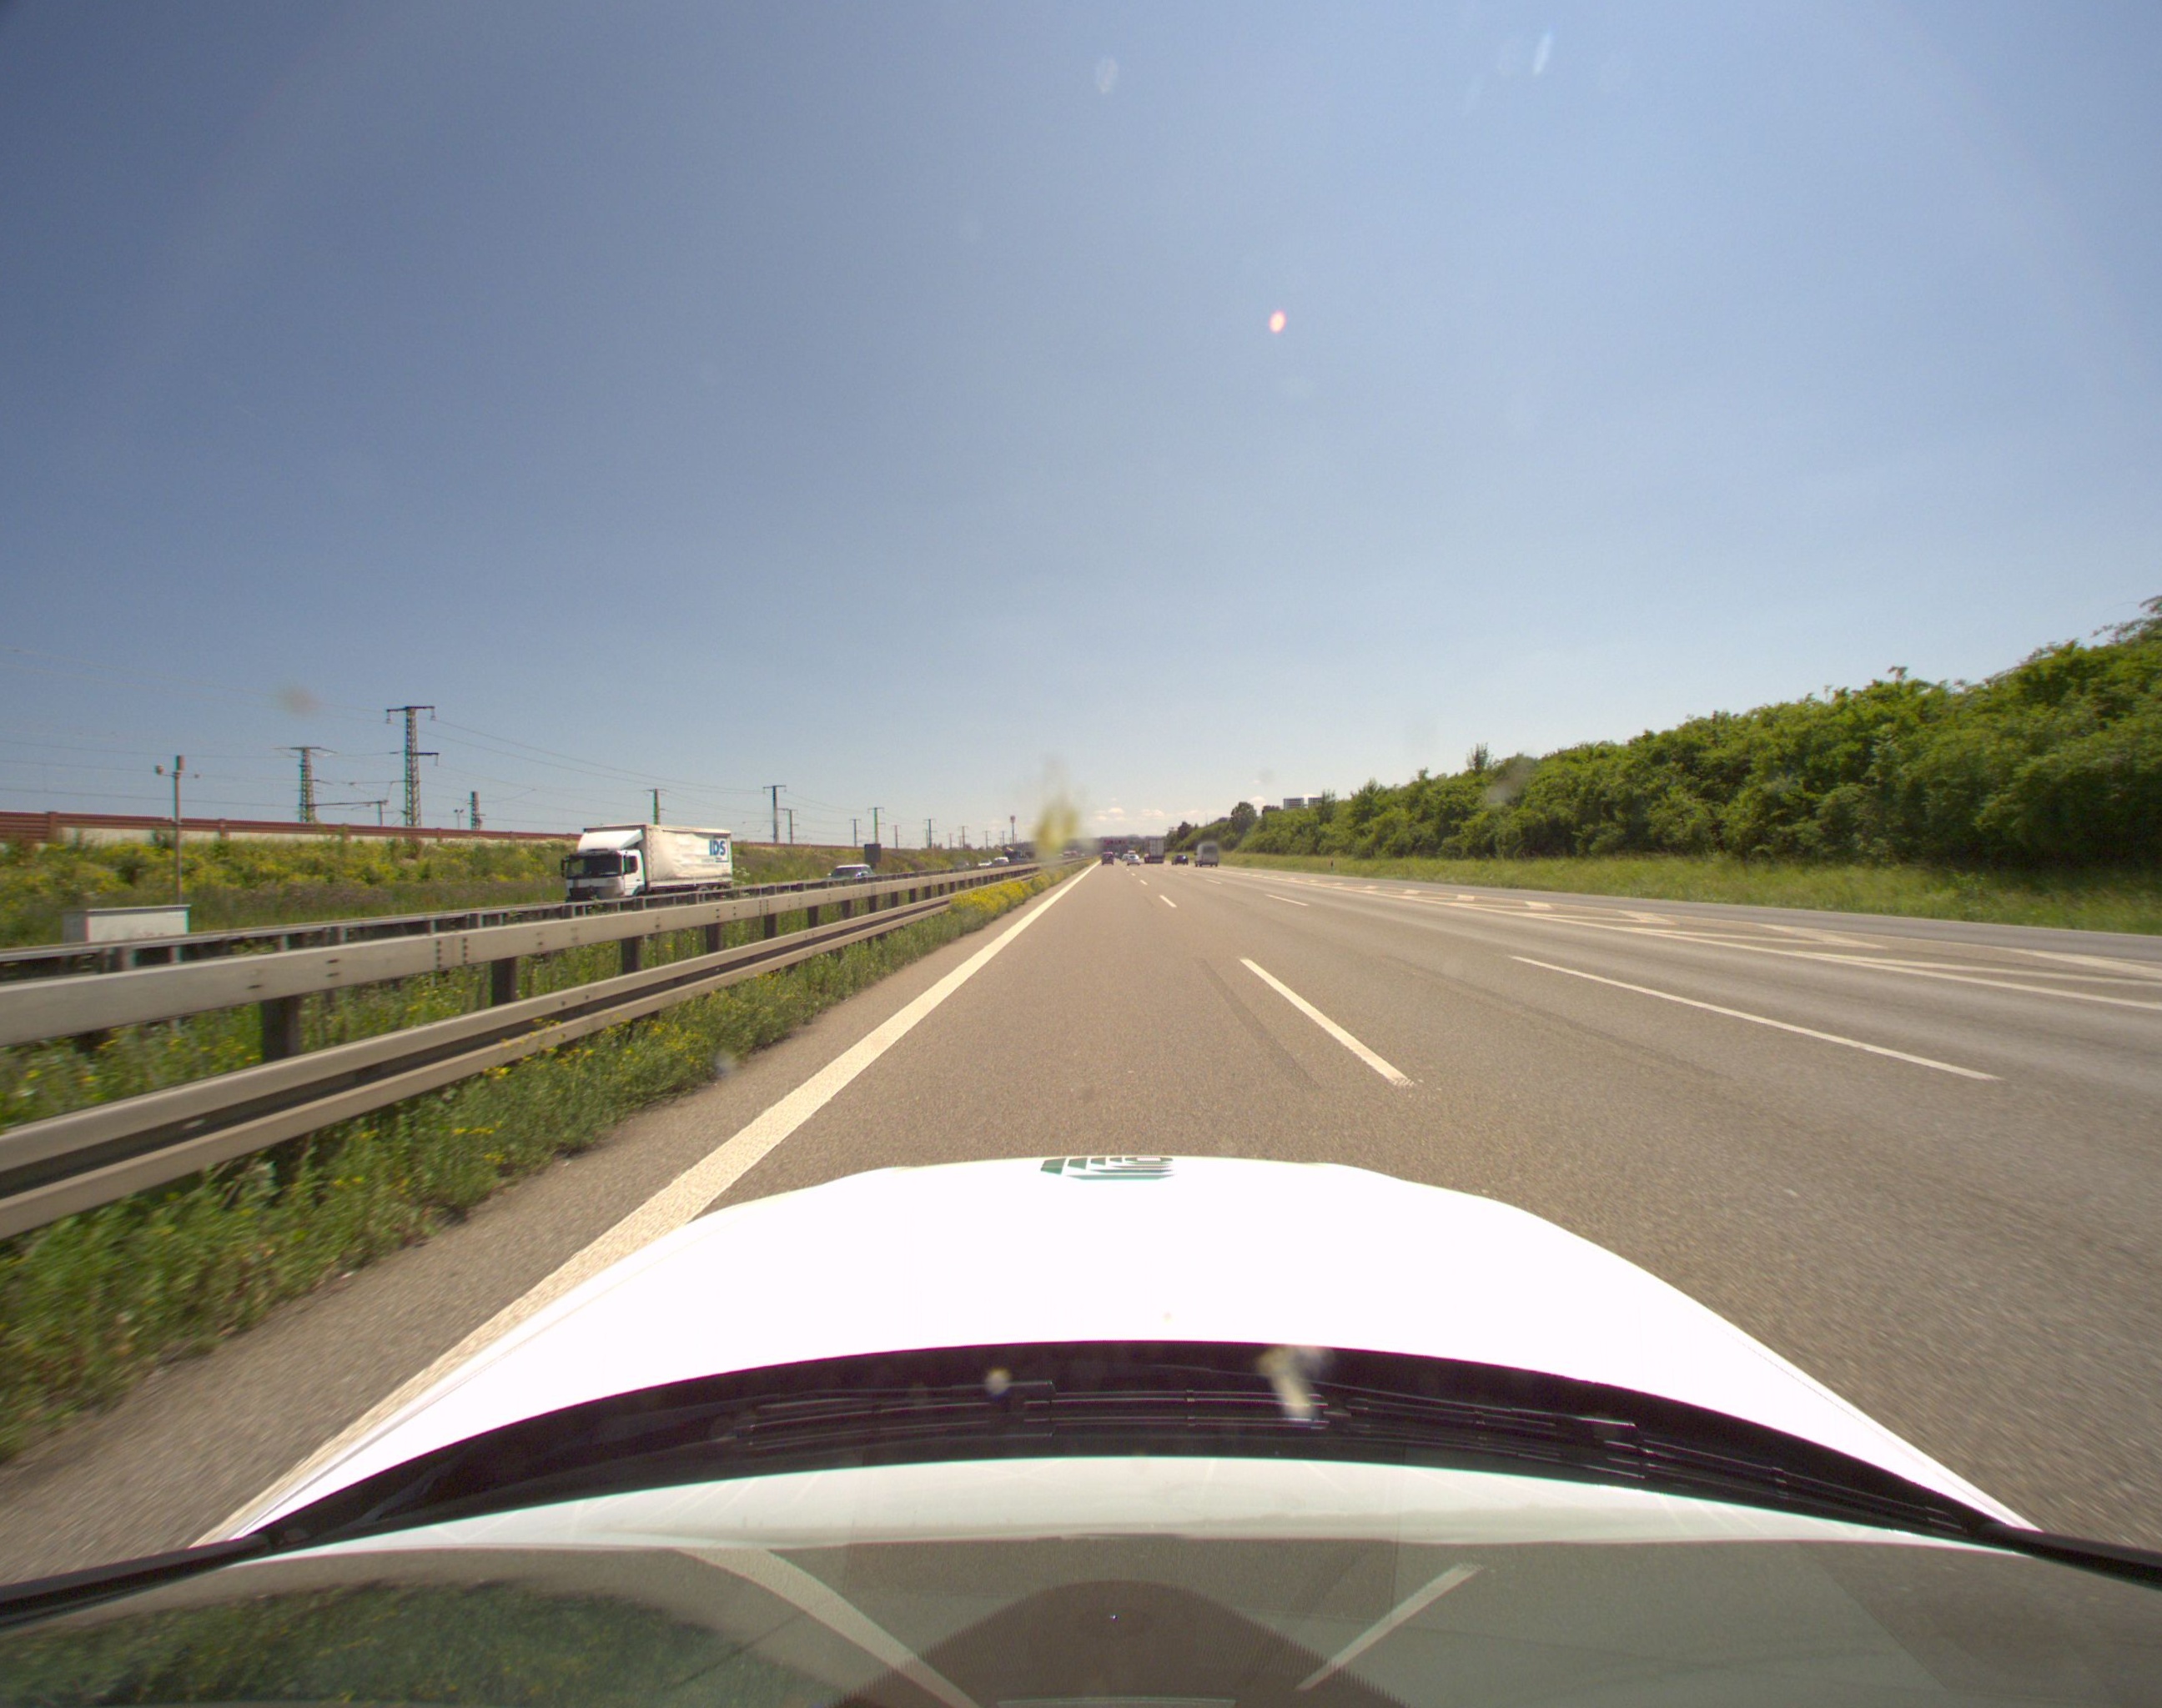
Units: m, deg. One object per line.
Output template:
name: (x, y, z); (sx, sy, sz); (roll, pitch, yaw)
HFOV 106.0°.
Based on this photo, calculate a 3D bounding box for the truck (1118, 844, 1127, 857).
truck: (11.487, -1.046, 223.467); (2.346, 3.416, 6.060); (-1, 0, 2)

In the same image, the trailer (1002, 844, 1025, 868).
trailer: (-11.458, 0.332, 138.299); (3.039, 3.867, 7.206); (-2, 0, 1)

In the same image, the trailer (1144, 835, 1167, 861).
trailer: (12.218, -0.990, 133.797); (3.165, 4.059, 9.444); (-2, 0, 2)

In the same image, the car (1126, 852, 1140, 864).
car: (7.141, 0.564, 111.678); (1.872, 1.526, 4.005); (-1, -1, 5)

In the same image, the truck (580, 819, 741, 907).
truck: (-18.277, 0.345, 36.134); (2.846, 3.466, 7.784); (0, 0, 2)

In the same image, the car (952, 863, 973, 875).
car: (-15.888, 1.977, 109.060); (1.913, 1.417, 4.586); (-3, 0, 2)

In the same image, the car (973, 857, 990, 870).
car: (-16.074, 1.515, 132.006); (1.986, 2.014, 4.497); (-3, -1, 2)

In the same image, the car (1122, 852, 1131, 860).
car: (10.007, 0.430, 178.250); (1.873, 1.526, 4.003); (-1, -1, 3)

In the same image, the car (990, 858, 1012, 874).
car: (-9.127, 1.387, 93.281); (1.913, 1.610, 5.397); (-3, 0, 1)

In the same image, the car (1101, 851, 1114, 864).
car: (3.964, 0.519, 120.768); (1.873, 1.775, 4.002); (-2, -1, 2)

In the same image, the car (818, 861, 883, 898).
car: (-11.455, 1.223, 40.809); (1.913, 1.610, 4.002); (-3, 0, 2)

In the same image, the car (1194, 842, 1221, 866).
car: (14.427, 0.002, 93.000); (2.266, 2.528, 5.400); (-1, 0, 1)

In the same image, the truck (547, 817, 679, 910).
truck: (-18.449, 0.345, 32.383); (2.837, 3.466, 4.025); (0, 0, 2)

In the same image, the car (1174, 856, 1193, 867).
car: (13.907, 1.034, 110.574); (1.987, 1.508, 3.998); (0, -1, 0)
